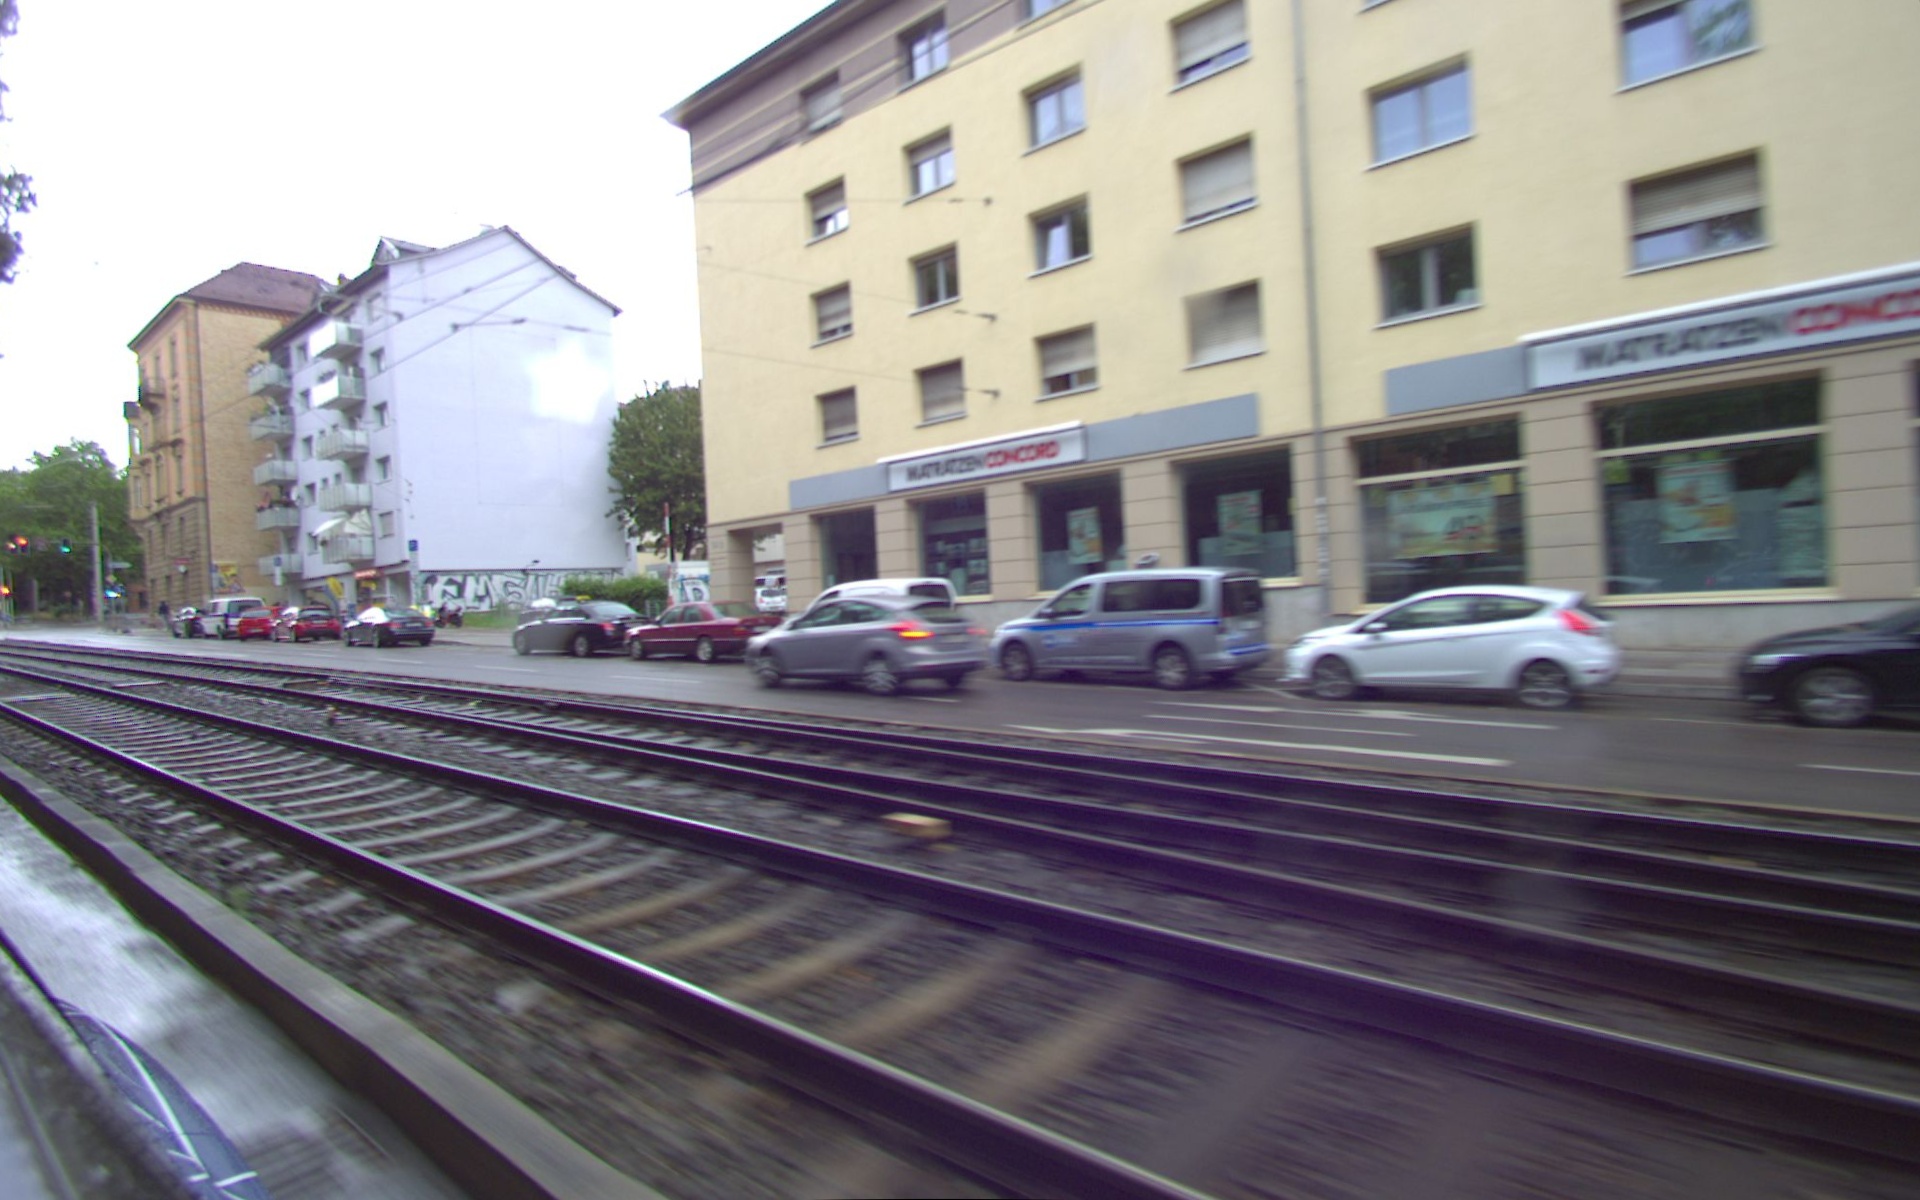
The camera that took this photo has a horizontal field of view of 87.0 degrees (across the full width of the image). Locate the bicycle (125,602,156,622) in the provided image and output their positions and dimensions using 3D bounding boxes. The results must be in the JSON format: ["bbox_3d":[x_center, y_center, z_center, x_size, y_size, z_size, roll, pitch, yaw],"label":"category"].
[{"bbox_3d":[-73.274,1.070,90.528,0.555,1.710,2.073,3,4,34],"label":"bicycle"}]

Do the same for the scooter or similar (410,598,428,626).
[{"bbox_3d":[-24.583,0.541,45.960,0.614,1.209,1.900,-5,2,-29],"label":"scooter or similar"}]

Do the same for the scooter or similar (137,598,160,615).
[{"bbox_3d":[-71.678,0.584,89.360,0.450,1.381,1.495,-1,1,24],"label":"scooter or similar"}]

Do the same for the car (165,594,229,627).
[{"bbox_3d":[-40.199,0.537,53.285,4.360,1.663,1.715,0,2,40],"label":"car"}]

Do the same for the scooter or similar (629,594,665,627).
[{"bbox_3d":[-11.303,0.376,36.566,0.378,1.121,1.280,-1,2,33],"label":"scooter or similar"}]

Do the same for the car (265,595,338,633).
[{"bbox_3d":[-27.748,0.554,42.587,4.074,1.462,1.635,0,1,43],"label":"car"}]

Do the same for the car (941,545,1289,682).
[{"bbox_3d":[2.397,0.162,16.784,5.456,1.919,1.973,0,2,41],"label":"car"}]

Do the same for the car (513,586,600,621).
[{"bbox_3d":[-16.666,0.158,41.711,1.848,1.313,4.482,-2,1,-43],"label":"car"}]

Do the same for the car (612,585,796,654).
[{"bbox_3d":[-6.238,0.423,24.376,4.829,1.443,1.832,0,3,41],"label":"car"}]

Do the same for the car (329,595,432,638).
[{"bbox_3d":[-20.800,0.548,36.248,4.618,1.406,1.663,0,1,39],"label":"car"}]

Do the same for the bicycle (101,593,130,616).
[{"bbox_3d":[-76.400,0.389,91.573,0.517,2.028,1.875,0,2,34],"label":"bicycle"}]

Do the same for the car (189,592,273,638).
[{"bbox_3d":[-35.947,0.742,49.825,5.298,2.023,2.049,-1,4,41],"label":"car"}]

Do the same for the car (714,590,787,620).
[{"bbox_3d":[-10.471,0.236,50.475,3.904,1.411,1.649,-1,0,44],"label":"car"}]

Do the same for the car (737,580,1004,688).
[{"bbox_3d":[-1.502,0.462,15.875,4.278,1.473,1.694,0,0,41],"label":"car"}]

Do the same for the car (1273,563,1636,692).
[{"bbox_3d":[6.385,0.352,13.269,4.043,1.450,1.675,-1,-2,37],"label":"car"}]

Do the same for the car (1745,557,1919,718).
[{"bbox_3d":[10.500,0.325,9.746,4.579,1.510,1.795,-1,2,41],"label":"car"}]

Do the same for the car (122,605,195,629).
[{"bbox_3d":[-57.140,1.210,72.202,1.773,1.549,3.755,0,1,33],"label":"car"}]

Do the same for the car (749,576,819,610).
[{"bbox_3d":[-9.152,-0.388,52.509,1.649,1.645,3.907,-3,3,-44],"label":"car"}]

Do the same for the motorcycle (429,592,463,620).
[{"bbox_3d":[-23.374,0.264,46.014,1.783,1.209,0.633,2,6,40],"label":"motorcycle"}]

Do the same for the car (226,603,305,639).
[{"bbox_3d":[-32.149,0.954,46.961,1.755,1.444,3.994,-2,2,-15],"label":"car"}]

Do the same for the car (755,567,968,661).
[{"bbox_3d":[-2.105,0.240,20.800,4.459,1.730,1.847,0,1,42],"label":"car"}]

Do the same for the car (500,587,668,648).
[{"bbox_3d":[-10.383,0.446,27.784,4.981,1.519,1.835,0,1,36],"label":"car"}]
